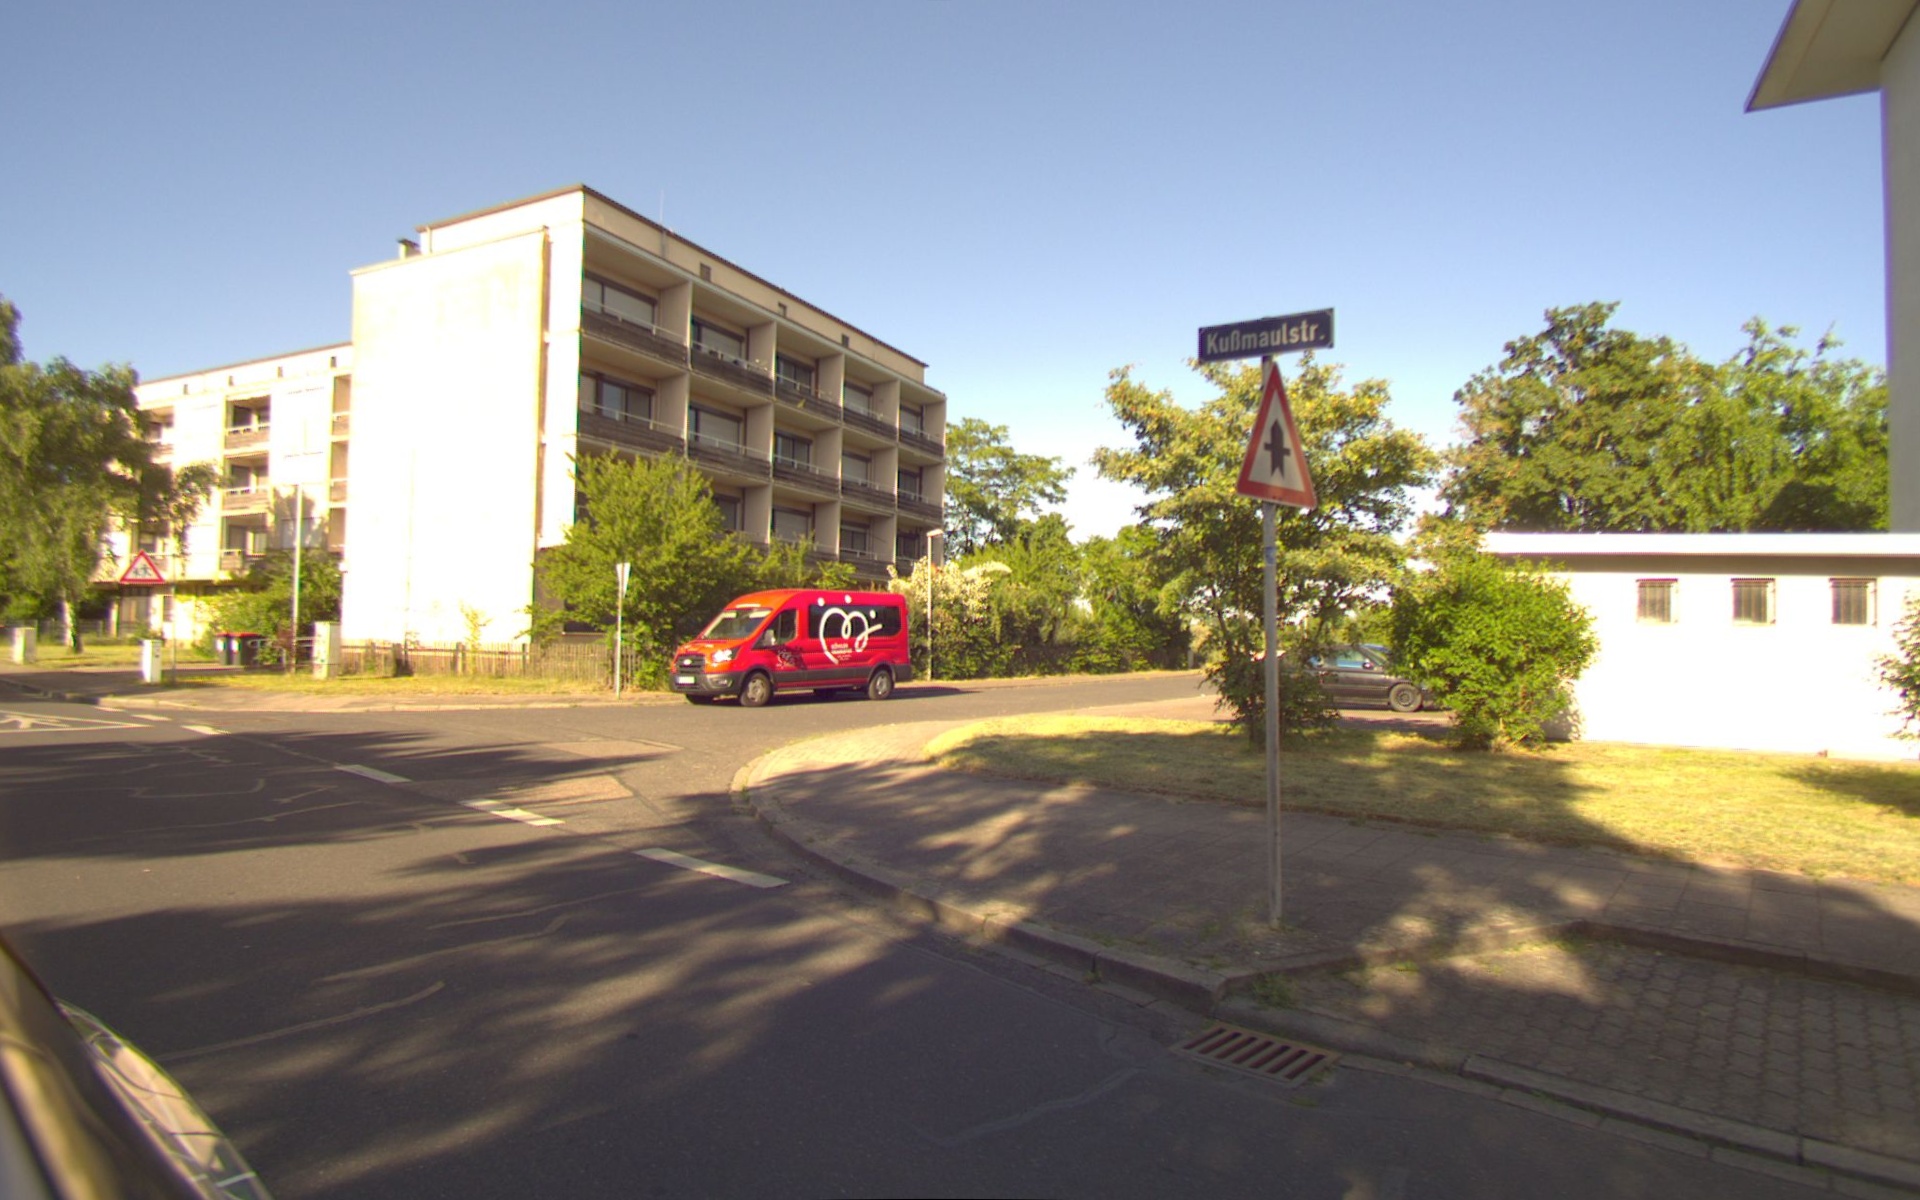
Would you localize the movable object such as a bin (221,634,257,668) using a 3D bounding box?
[{"bbox_3d":[-23.209,1.649,32.579,0.696,1.056,0.625,1,-3,15],"label":"movable object such as a bin"}]

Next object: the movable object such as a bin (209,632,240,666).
[{"bbox_3d":[-23.814,1.587,32.782,0.552,1.061,0.562,1,-3,16],"label":"movable object such as a bin"}]

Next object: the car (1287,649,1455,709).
[{"bbox_3d":[10.959,2.074,27.021,4.012,1.399,1.829,0,-3,28],"label":"car"}]

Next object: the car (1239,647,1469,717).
[{"bbox_3d":[8.466,1.708,21.856,4.353,1.367,1.938,-2,-4,32],"label":"car"}]

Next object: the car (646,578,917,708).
[{"bbox_3d":[-3.671,1.016,22.090,2.210,2.447,5.847,-3,-5,38],"label":"car"}]
